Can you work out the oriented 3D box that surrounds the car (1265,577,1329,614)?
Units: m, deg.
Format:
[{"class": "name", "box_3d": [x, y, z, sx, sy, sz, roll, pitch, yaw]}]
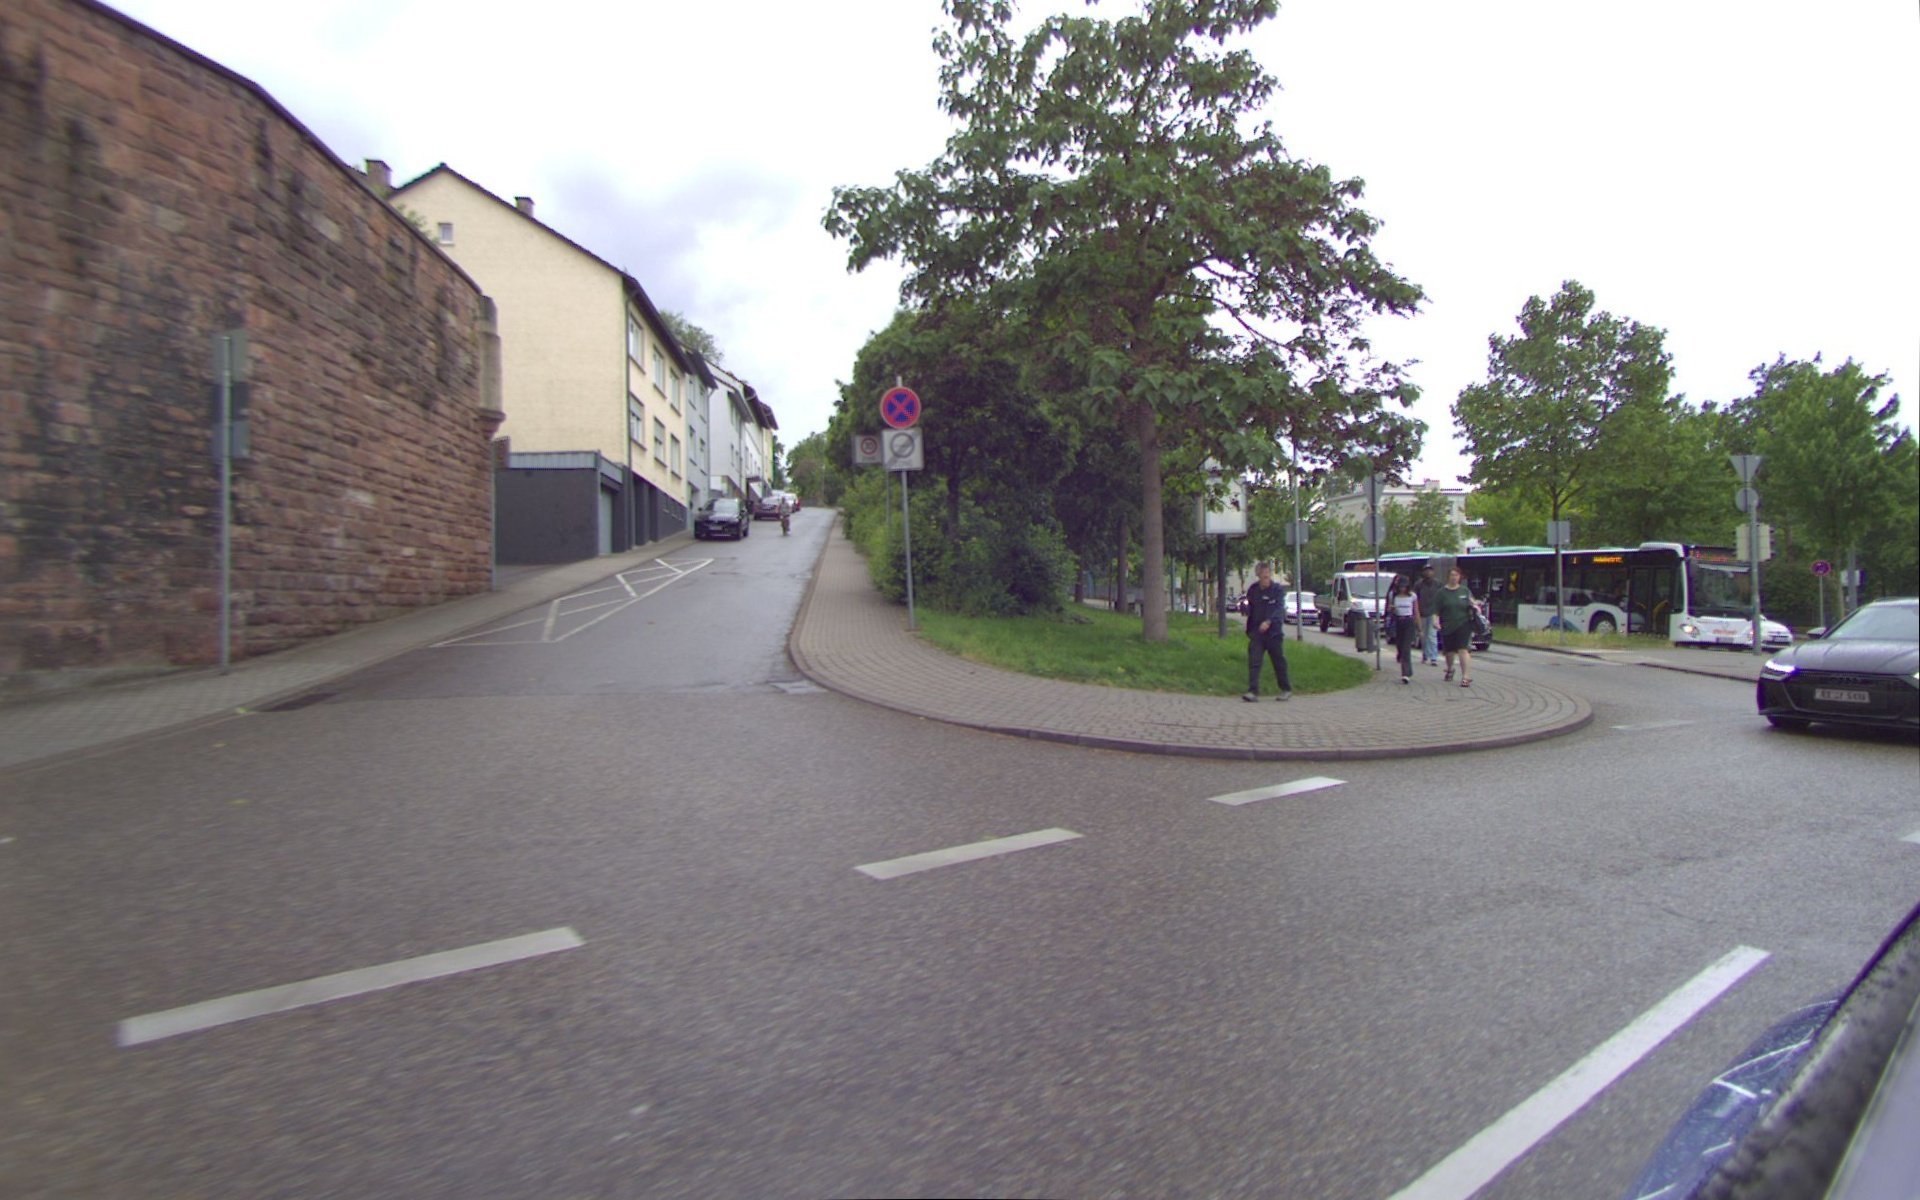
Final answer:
[{"class": "car", "box_3d": [15.882, -0.216, 47.963, 1.966, 1.673, 4.865, 0, 0, 7]}]

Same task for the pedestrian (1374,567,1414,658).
[{"class": "pedestrian", "box_3d": [8.470, 0.230, 19.736, 0.556, 1.727, 0.521, 2, 1, 41]}]

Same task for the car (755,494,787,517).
[{"class": "car", "box_3d": [-11.991, -6.043, 64.347, 1.737, 1.327, 4.011, 1, 6, -8]}]

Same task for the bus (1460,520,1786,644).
[{"class": "bus", "box_3d": [20.011, -0.551, 31.663, 2.649, 3.257, 9.675, 1, 1, -9]}]

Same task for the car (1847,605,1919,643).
[{"class": "car", "box_3d": [38.275, 0.925, 40.553, 4.174, 1.458, 1.860, 0, 0, -10]}]

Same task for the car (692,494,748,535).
[{"class": "car", "box_3d": [-9.970, -3.590, 42.291, 1.868, 1.553, 4.011, 1, 6, -8]}]

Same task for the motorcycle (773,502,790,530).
[{"class": "motorcycle", "box_3d": [-8.142, -3.866, 46.161, 0.647, 1.199, 2.354, 1, 6, -8]}]

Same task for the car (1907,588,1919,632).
[{"class": "car", "box_3d": [54.332, 0.580, 54.824, 4.907, 2.349, 1.977, 1, 0, -13]}]

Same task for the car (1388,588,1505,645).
[{"class": "car", "box_3d": [12.954, 0.376, 27.208, 1.766, 1.391, 4.086, 0, 1, 10]}]

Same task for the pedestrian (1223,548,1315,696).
[{"class": "pedestrian", "box_3d": [3.722, 0.262, 12.180, 0.947, 1.707, 0.572, 3, 0, -41]}]

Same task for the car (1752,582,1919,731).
[{"class": "car", "box_3d": [10.907, 0.535, 11.104, 4.272, 1.422, 1.901, 0, 1, -28]}]

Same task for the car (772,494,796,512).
[{"class": "car", "box_3d": [-14.004, -7.757, 80.806, 1.737, 1.327, 4.011, 1, 6, -8]}]

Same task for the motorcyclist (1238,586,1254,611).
[{"class": "motorcyclist", "box_3d": [17.307, -0.092, 61.278, 0.793, 1.455, 1.238, 0, 0, 8]}]

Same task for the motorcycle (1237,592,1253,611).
[{"class": "motorcycle", "box_3d": [17.247, 0.085, 61.262, 0.561, 1.133, 2.683, 0, 0, 7]}]

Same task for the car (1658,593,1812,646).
[{"class": "car", "box_3d": [23.344, 0.569, 30.637, 1.557, 1.470, 3.574, 1, -1, -9]}]

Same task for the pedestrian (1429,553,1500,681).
[{"class": "pedestrian", "box_3d": [7.576, 0.237, 15.198, 0.740, 1.852, 0.683, 3, 2, 42]}]

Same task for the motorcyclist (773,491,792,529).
[{"class": "motorcyclist", "box_3d": [-8.069, -4.097, 46.063, 0.819, 1.663, 0.971, 1, 5, -7]}]

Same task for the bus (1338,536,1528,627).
[{"class": "bus", "box_3d": [18.673, -0.832, 40.752, 2.633, 3.219, 8.575, 1, 2, -7]}]

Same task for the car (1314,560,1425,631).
[{"class": "car", "box_3d": [14.225, -0.197, 35.599, 2.218, 2.262, 6.326, 0, 1, 9]}]

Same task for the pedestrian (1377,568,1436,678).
[{"class": "pedestrian", "box_3d": [6.839, 0.328, 15.499, 0.600, 1.619, 0.696, 3, 3, 42]}]

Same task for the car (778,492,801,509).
[{"class": "car", "box_3d": [-14.571, -8.541, 86.487, 1.737, 1.327, 4.011, 1, 6, -8]}]
